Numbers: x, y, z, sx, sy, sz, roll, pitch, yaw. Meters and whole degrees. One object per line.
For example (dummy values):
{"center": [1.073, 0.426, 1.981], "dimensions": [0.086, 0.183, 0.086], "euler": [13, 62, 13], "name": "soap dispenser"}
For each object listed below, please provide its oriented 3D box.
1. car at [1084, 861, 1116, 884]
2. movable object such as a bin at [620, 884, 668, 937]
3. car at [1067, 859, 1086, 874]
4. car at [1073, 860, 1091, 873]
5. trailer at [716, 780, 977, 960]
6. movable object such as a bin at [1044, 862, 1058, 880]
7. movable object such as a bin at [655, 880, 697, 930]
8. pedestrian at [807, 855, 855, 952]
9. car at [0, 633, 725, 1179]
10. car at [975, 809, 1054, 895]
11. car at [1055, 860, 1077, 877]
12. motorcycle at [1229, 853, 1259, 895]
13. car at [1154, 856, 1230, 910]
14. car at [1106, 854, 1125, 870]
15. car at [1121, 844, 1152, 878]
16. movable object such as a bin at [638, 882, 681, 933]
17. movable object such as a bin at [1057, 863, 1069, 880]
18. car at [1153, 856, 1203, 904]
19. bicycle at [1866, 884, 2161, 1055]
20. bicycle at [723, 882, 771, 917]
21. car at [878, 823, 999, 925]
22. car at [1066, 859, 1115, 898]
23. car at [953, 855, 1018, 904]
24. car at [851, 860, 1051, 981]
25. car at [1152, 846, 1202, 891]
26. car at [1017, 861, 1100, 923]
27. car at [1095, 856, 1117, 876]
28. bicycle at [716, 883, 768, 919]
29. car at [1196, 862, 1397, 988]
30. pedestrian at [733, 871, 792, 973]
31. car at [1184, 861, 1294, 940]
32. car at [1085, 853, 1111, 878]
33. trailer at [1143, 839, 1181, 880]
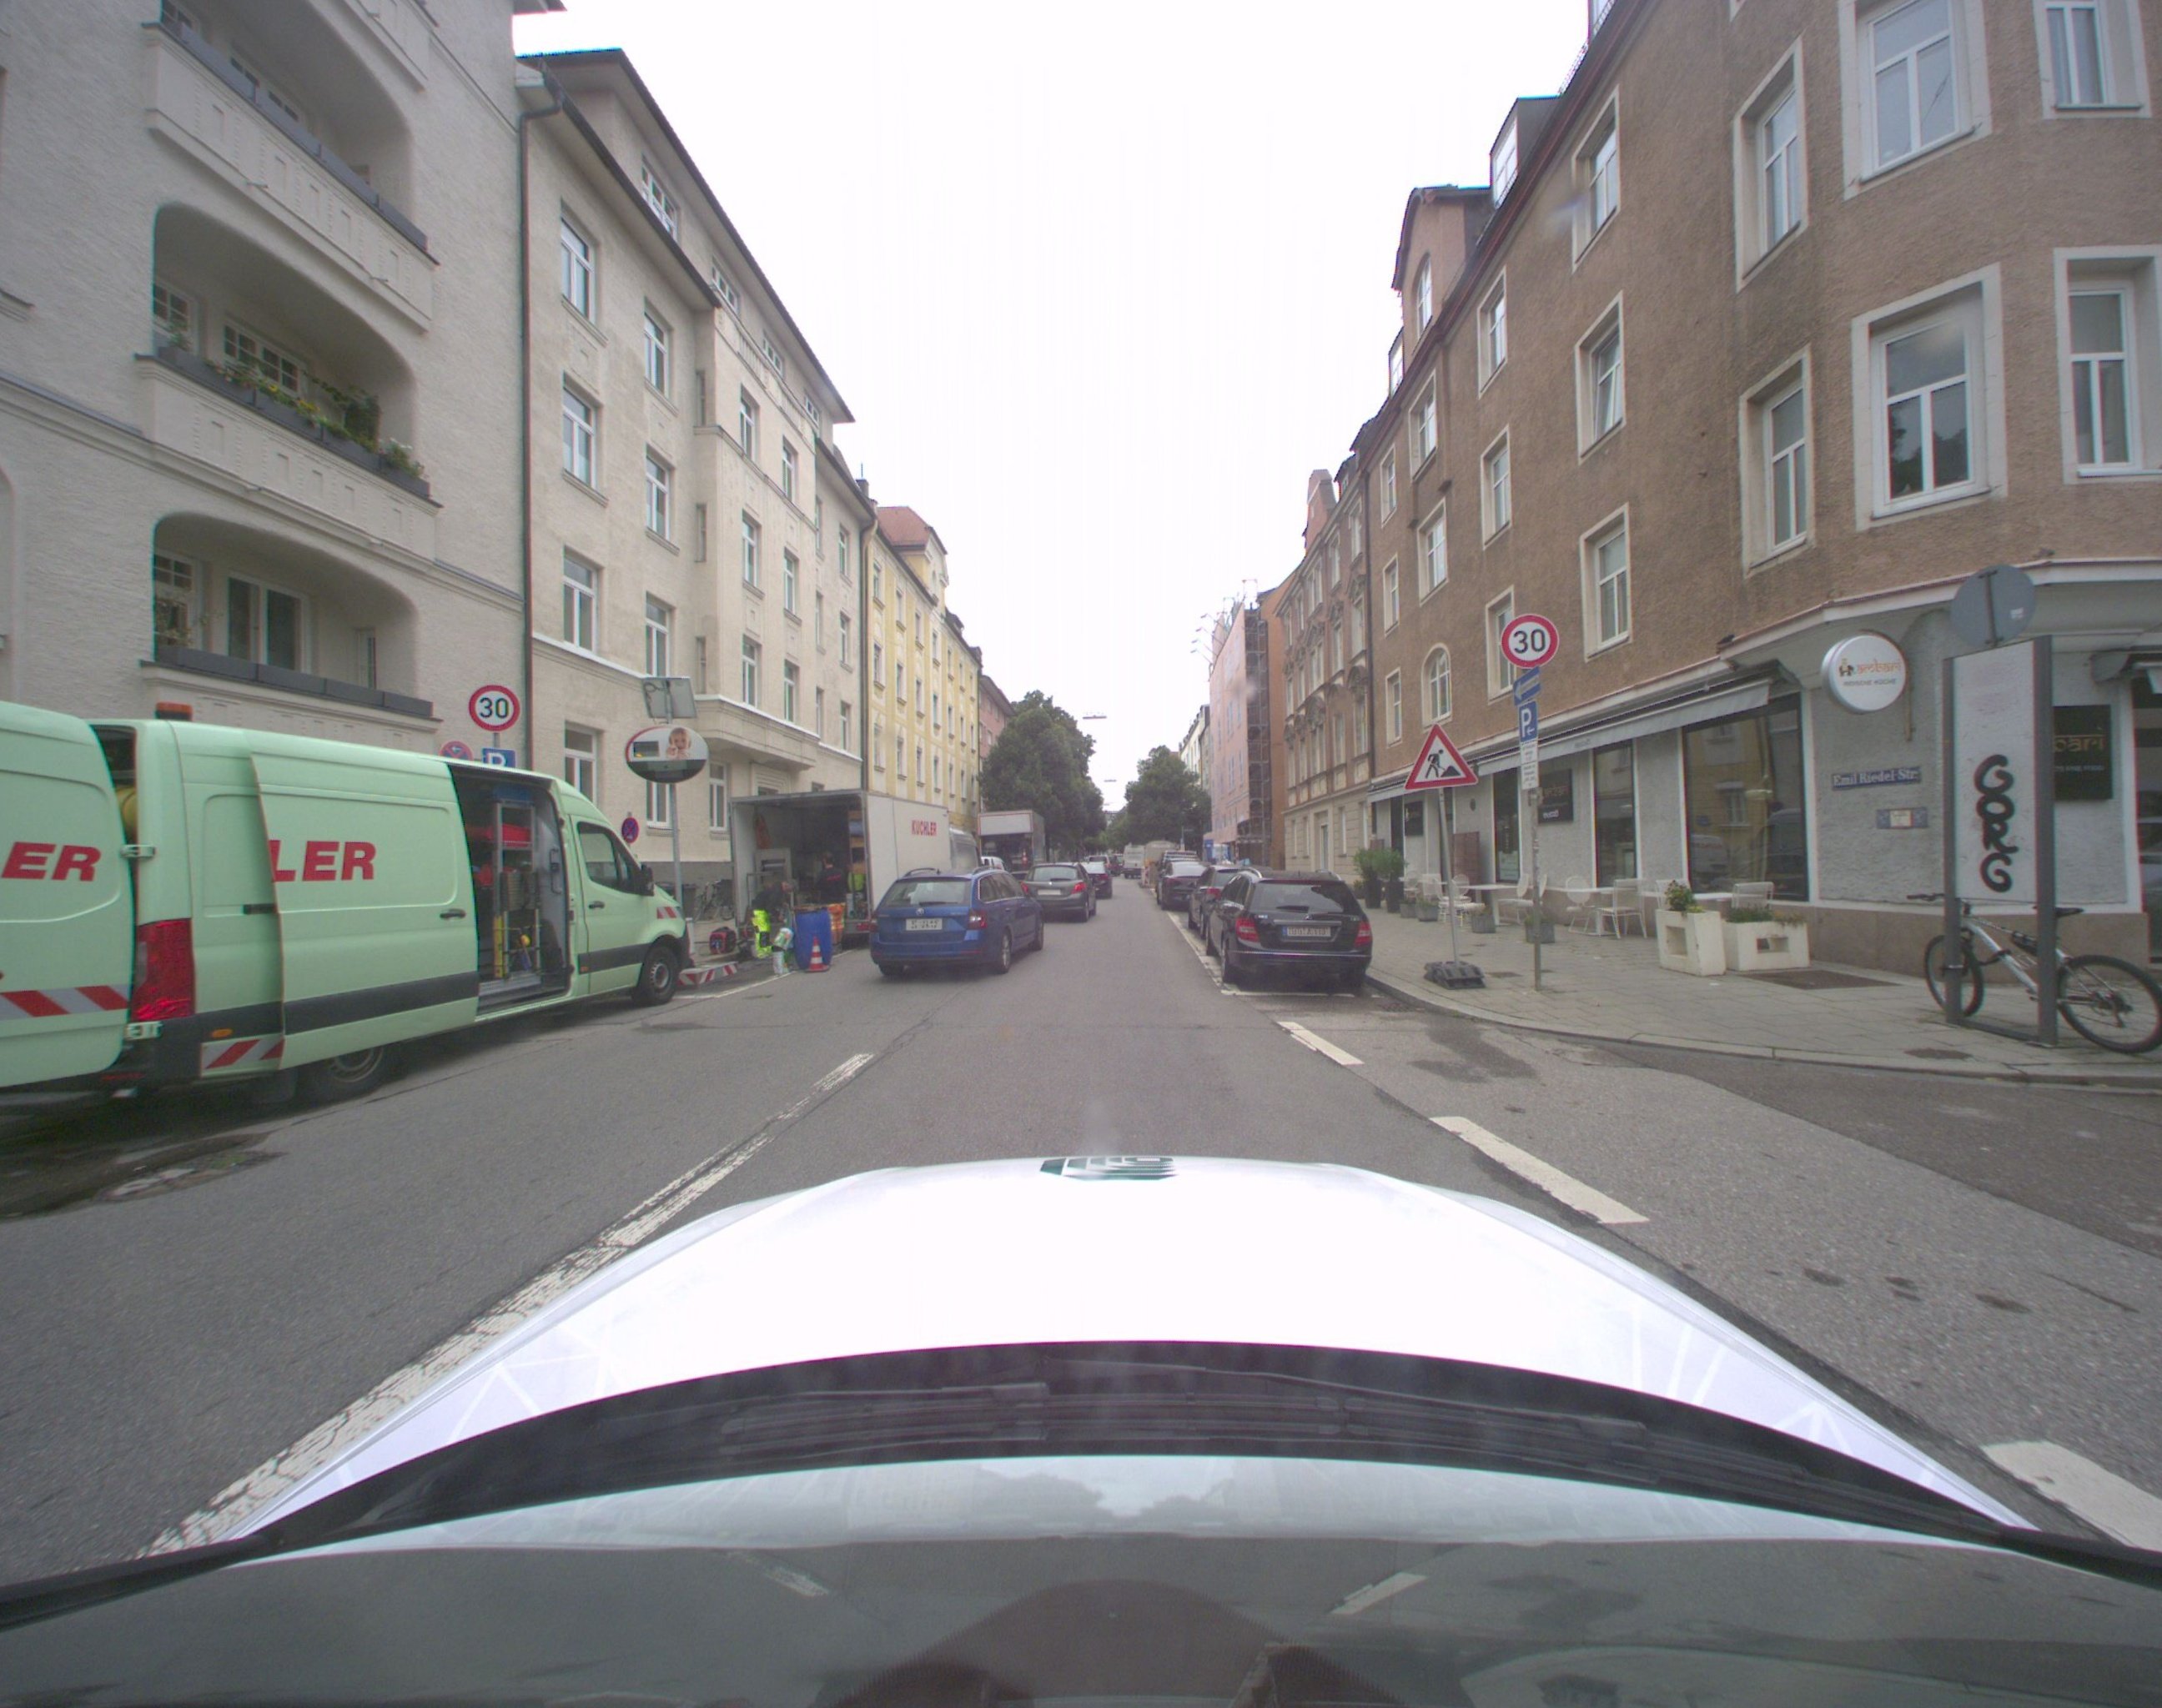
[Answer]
{"center": [1.222, 1.118, 50.623], "dimensions": [1.859, 1.348, 4.351], "euler": [0, 0, 3], "name": "car"}
{"center": [-9.733, 1.253, 18.136], "dimensions": [0.673, 1.129, 0.640], "euler": [-2, -1, 6], "name": "movable object such as a bin"}
{"center": [-0.473, 1.314, 84.857], "dimensions": [1.806, 1.478, 4.001], "euler": [0, 0, 1], "name": "car"}
{"center": [0.143, 1.499, 96.891], "dimensions": [1.804, 1.478, 4.003], "euler": [0, 0, 3], "name": "car"}
{"center": [-4.628, 0.277, 18.132], "dimensions": [2.790, 2.969, 7.611], "euler": [-4, 0, 5], "name": "trailer"}
{"center": [-2.438, 1.396, 66.269], "dimensions": [1.078, 1.376, 1.083], "euler": [-3, 0, -1], "name": "movable object such as a bin"}
{"center": [-9.592, 1.206, 19.294], "dimensions": [0.668, 1.129, 0.555], "euler": [-2, -1, 6], "name": "movable object such as a bin"}
{"center": [-4.378, 0.844, 14.297], "dimensions": [0.763, 1.631, 0.633], "euler": [-1, -1, -17], "name": "pedestrian"}
{"center": [-5.934, 0.277, 7.235], "dimensions": [2.131, 2.572, 6.801], "euler": [-1, 0, 4], "name": "car"}
{"center": [-3.163, -0.034, 41.383], "dimensions": [2.801, 3.818, 8.729], "euler": [-1, -1, 3], "name": "car"}
{"center": [-1.363, 1.273, 74.144], "dimensions": [1.806, 1.478, 4.001], "euler": [0, 0, 1], "name": "car"}
{"center": [6.043, 0.723, 30.301], "dimensions": [0.867, 1.505, 2.000], "euler": [-1, -1, 5], "name": "motorcycle"}
{"center": [3.505, 0.855, 26.603], "dimensions": [1.923, 1.553, 5.639], "euler": [-1, 0, 2], "name": "car"}
{"center": [3.671, 0.831, 87.244], "dimensions": [2.000, 1.653, 4.350], "euler": [0, 0, 3], "name": "car"}
{"center": [4.619, 0.570, 67.290], "dimensions": [2.100, 2.664, 5.513], "euler": [0, -1, 9], "name": "car"}
{"center": [-9.681, 1.226, 18.725], "dimensions": [0.645, 1.129, 0.555], "euler": [-2, -1, 6], "name": "movable object such as a bin"}
{"center": [-1.442, 1.409, 66.315], "dimensions": [0.915, 1.376, 1.079], "euler": [-3, 0, -1], "name": "movable object such as a bin"}
{"center": [3.752, 0.982, 31.987], "dimensions": [1.686, 1.676, 4.412], "euler": [2, -1, 4], "name": "car"}
{"center": [7.074, 0.792, 6.236], "dimensions": [0.493, 1.005, 1.806], "euler": [-3, 0, 6], "name": "bicycle"}
{"center": [-9.564, 1.299, 23.397], "dimensions": [0.413, 0.914, 1.760], "euler": [2, -1, 8], "name": "bicycle"}
{"center": [-4.234, 0.563, 25.625], "dimensions": [2.048, 2.587, 6.881], "euler": [-5, -1, 3], "name": "car"}
{"center": [0.461, 0.941, 33.274], "dimensions": [1.860, 1.454, 4.349], "euler": [0, 0, 2], "name": "car"}
{"center": [-3.795, 0.994, 33.036], "dimensions": [1.755, 1.779, 4.331], "euler": [-3, -1, 4], "name": "car"}
{"center": [-1.708, 0.848, 12.234], "dimensions": [1.779, 1.460, 4.323], "euler": [-2, -1, 7], "name": "car"}
{"center": [4.401, 0.725, 37.990], "dimensions": [2.073, 1.921, 5.145], "euler": [0, -3, 4], "name": "car"}
{"center": [-0.485, 0.917, 20.961], "dimensions": [1.733, 1.422, 3.668], "euler": [-1, -1, 5], "name": "car"}
{"center": [2.269, 1.053, 73.445], "dimensions": [1.859, 1.653, 4.351], "euler": [0, 0, 3], "name": "car"}
{"center": [-9.347, 1.287, 22.520], "dimensions": [0.392, 0.914, 1.594], "euler": [2, -1, 15], "name": "bicycle"}
{"center": [2.772, 0.825, 11.610], "dimensions": [1.839, 1.405, 4.792], "euler": [-1, -1, 3], "name": "car"}
{"center": [-5.123, 1.072, 13.136], "dimensions": [0.762, 1.580, 0.634], "euler": [-1, -1, -14], "name": "pedestrian"}
{"center": [3.122, 0.873, 16.819], "dimensions": [1.566, 1.394, 4.184], "euler": [-2, -1, 2], "name": "car"}
{"center": [1.392, 0.851, 63.492], "dimensions": [1.859, 1.870, 4.351], "euler": [0, 0, 3], "name": "car"}
{"center": [5.867, 0.458, 60.137], "dimensions": [2.492, 2.840, 6.906], "euler": [0, -1, 3], "name": "trailer"}
